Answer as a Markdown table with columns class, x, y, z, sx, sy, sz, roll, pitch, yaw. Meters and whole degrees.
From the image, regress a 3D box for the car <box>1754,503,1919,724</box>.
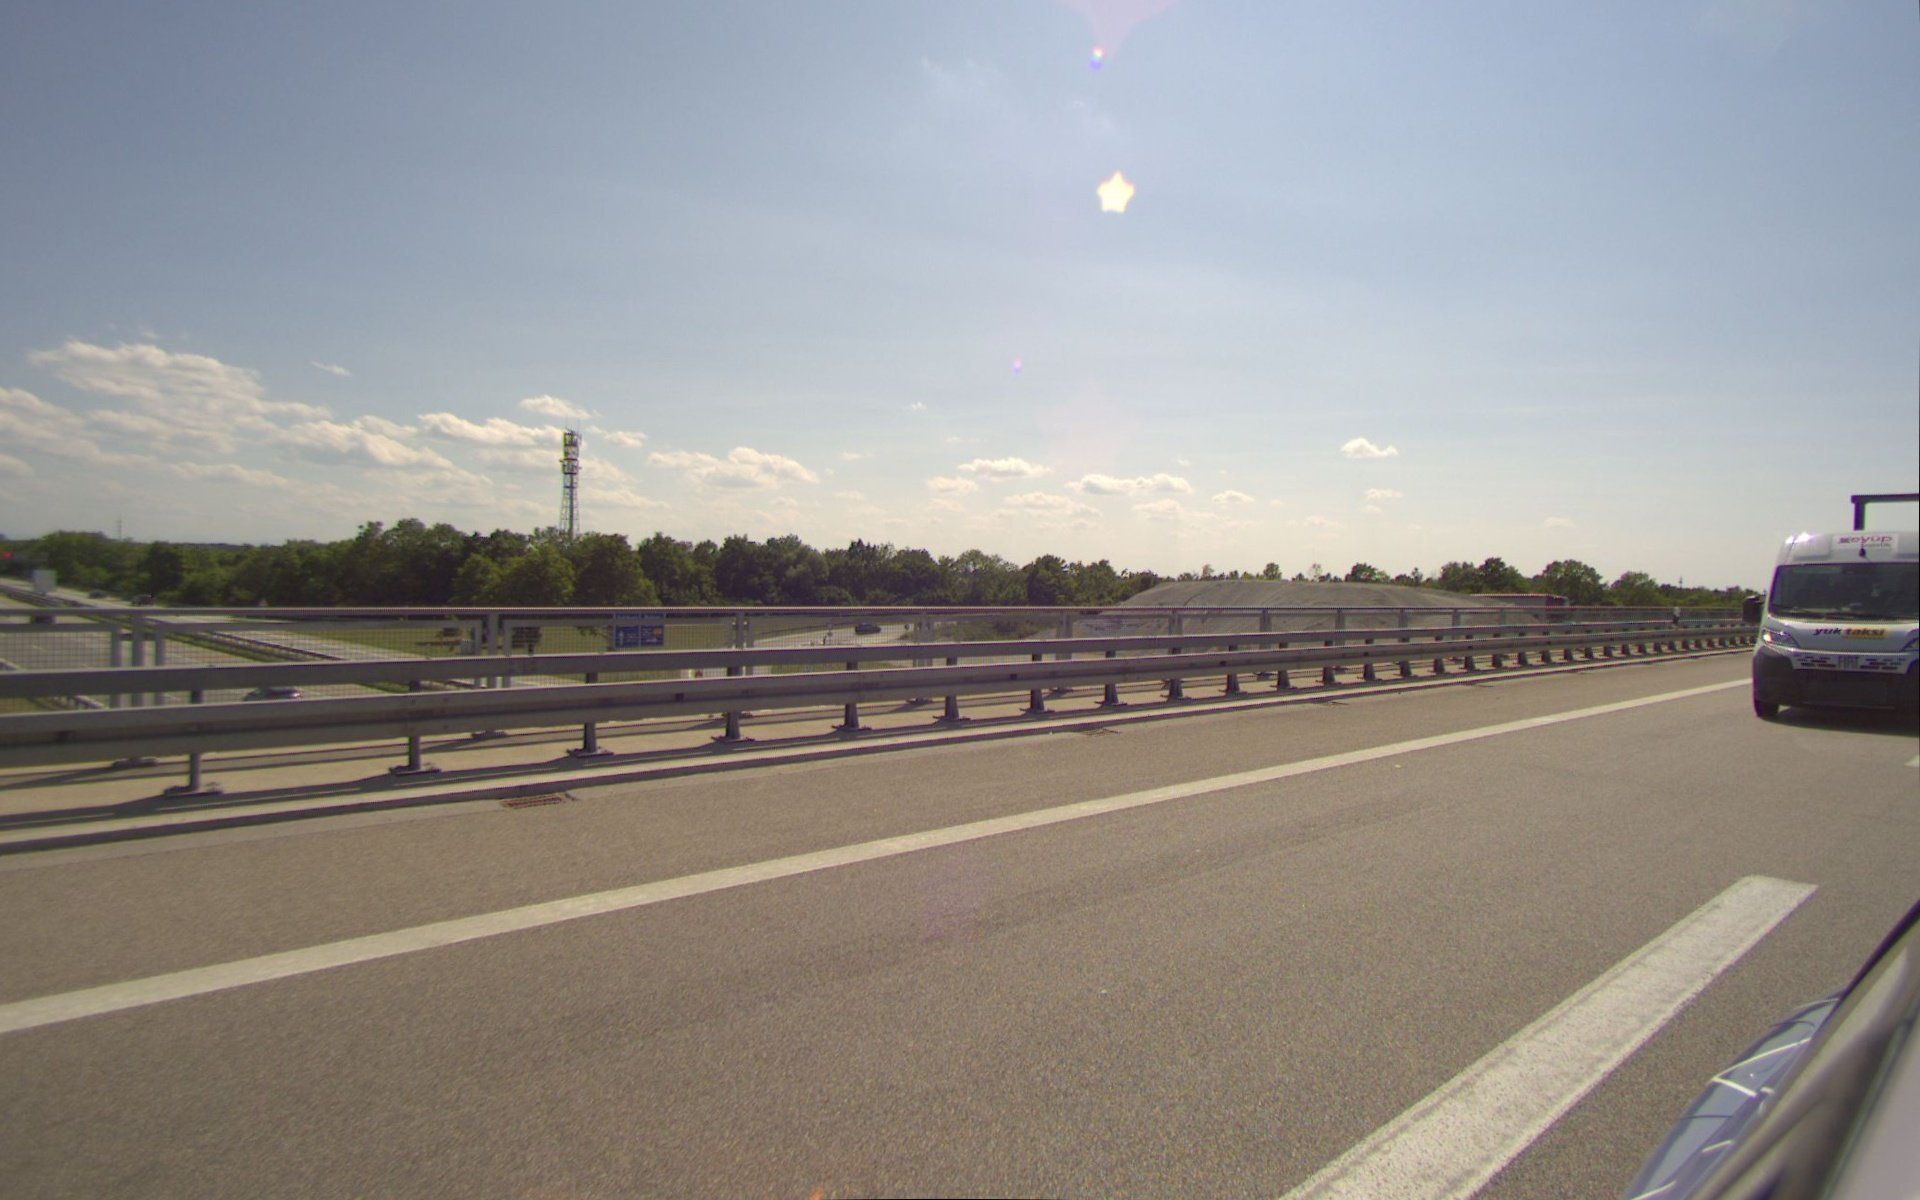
| class | x | y | z | sx | sy | sz | roll | pitch | yaw |
| --- | --- | --- | --- | --- | --- | --- | --- | --- | --- |
| car | 13.036 | 0.176 | 14.117 | 6.130 | 2.555 | 2.085 | 1 | 1 | -43 |
